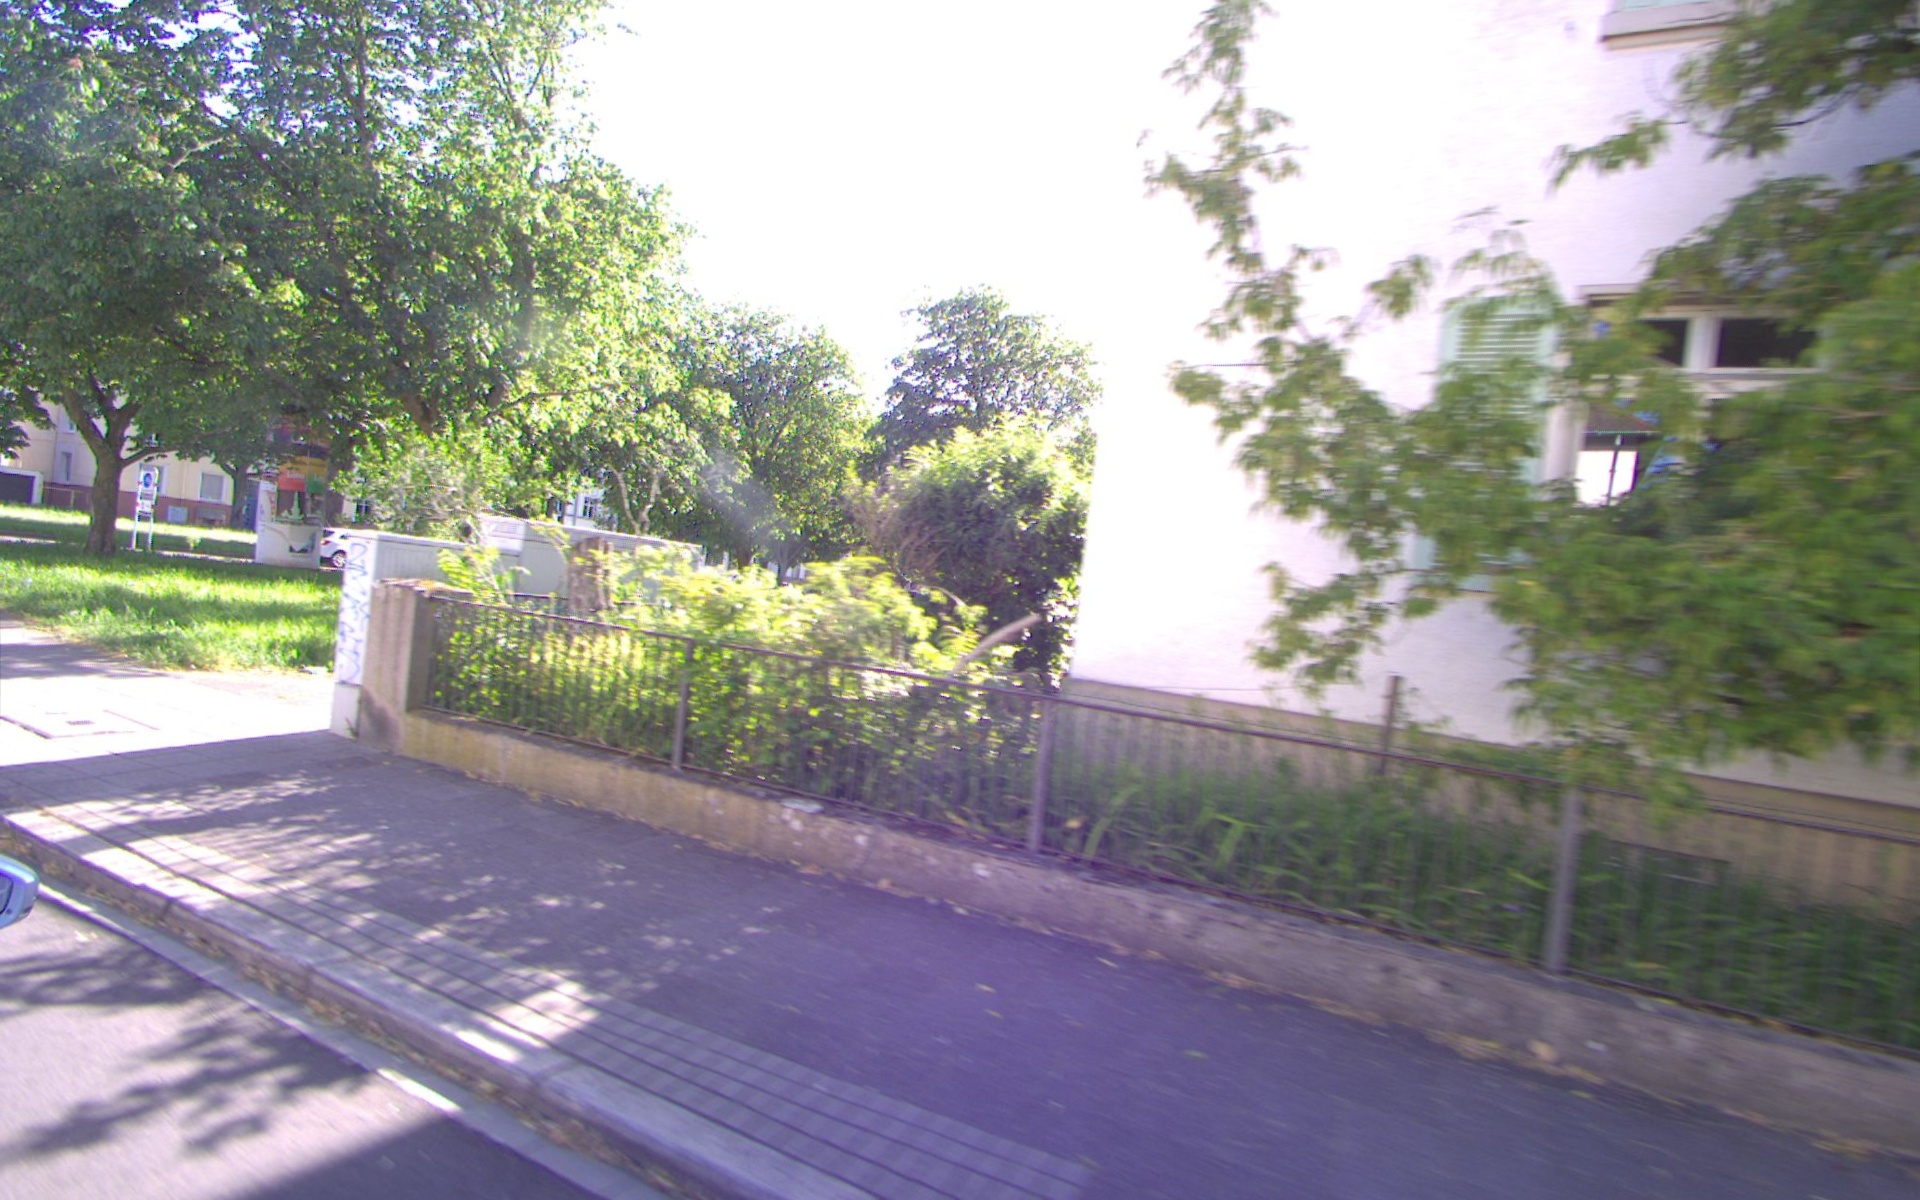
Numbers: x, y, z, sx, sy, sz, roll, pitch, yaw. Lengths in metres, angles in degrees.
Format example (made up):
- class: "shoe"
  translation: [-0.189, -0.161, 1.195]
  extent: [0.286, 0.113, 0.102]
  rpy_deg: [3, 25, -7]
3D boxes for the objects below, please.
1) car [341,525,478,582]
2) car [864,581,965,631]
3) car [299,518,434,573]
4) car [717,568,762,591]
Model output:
- class: "car"
  translation: [-19.050, -1.574, 35.011]
  extent: [1.756, 1.467, 4.001]
  rpy_deg: [7, 0, 16]
- class: "car"
  translation: [-2.003, 0.264, 44.060]
  extent: [4.025, 1.635, 1.634]
  rpy_deg: [7, 1, 30]
- class: "car"
  translation: [-21.458, -1.933, 36.522]
  extent: [1.714, 1.459, 3.806]
  rpy_deg: [7, 0, 24]
- class: "car"
  translation: [-23.543, -2.170, 107.524]
  extent: [1.959, 1.838, 4.827]
  rpy_deg: [7, 0, 28]
